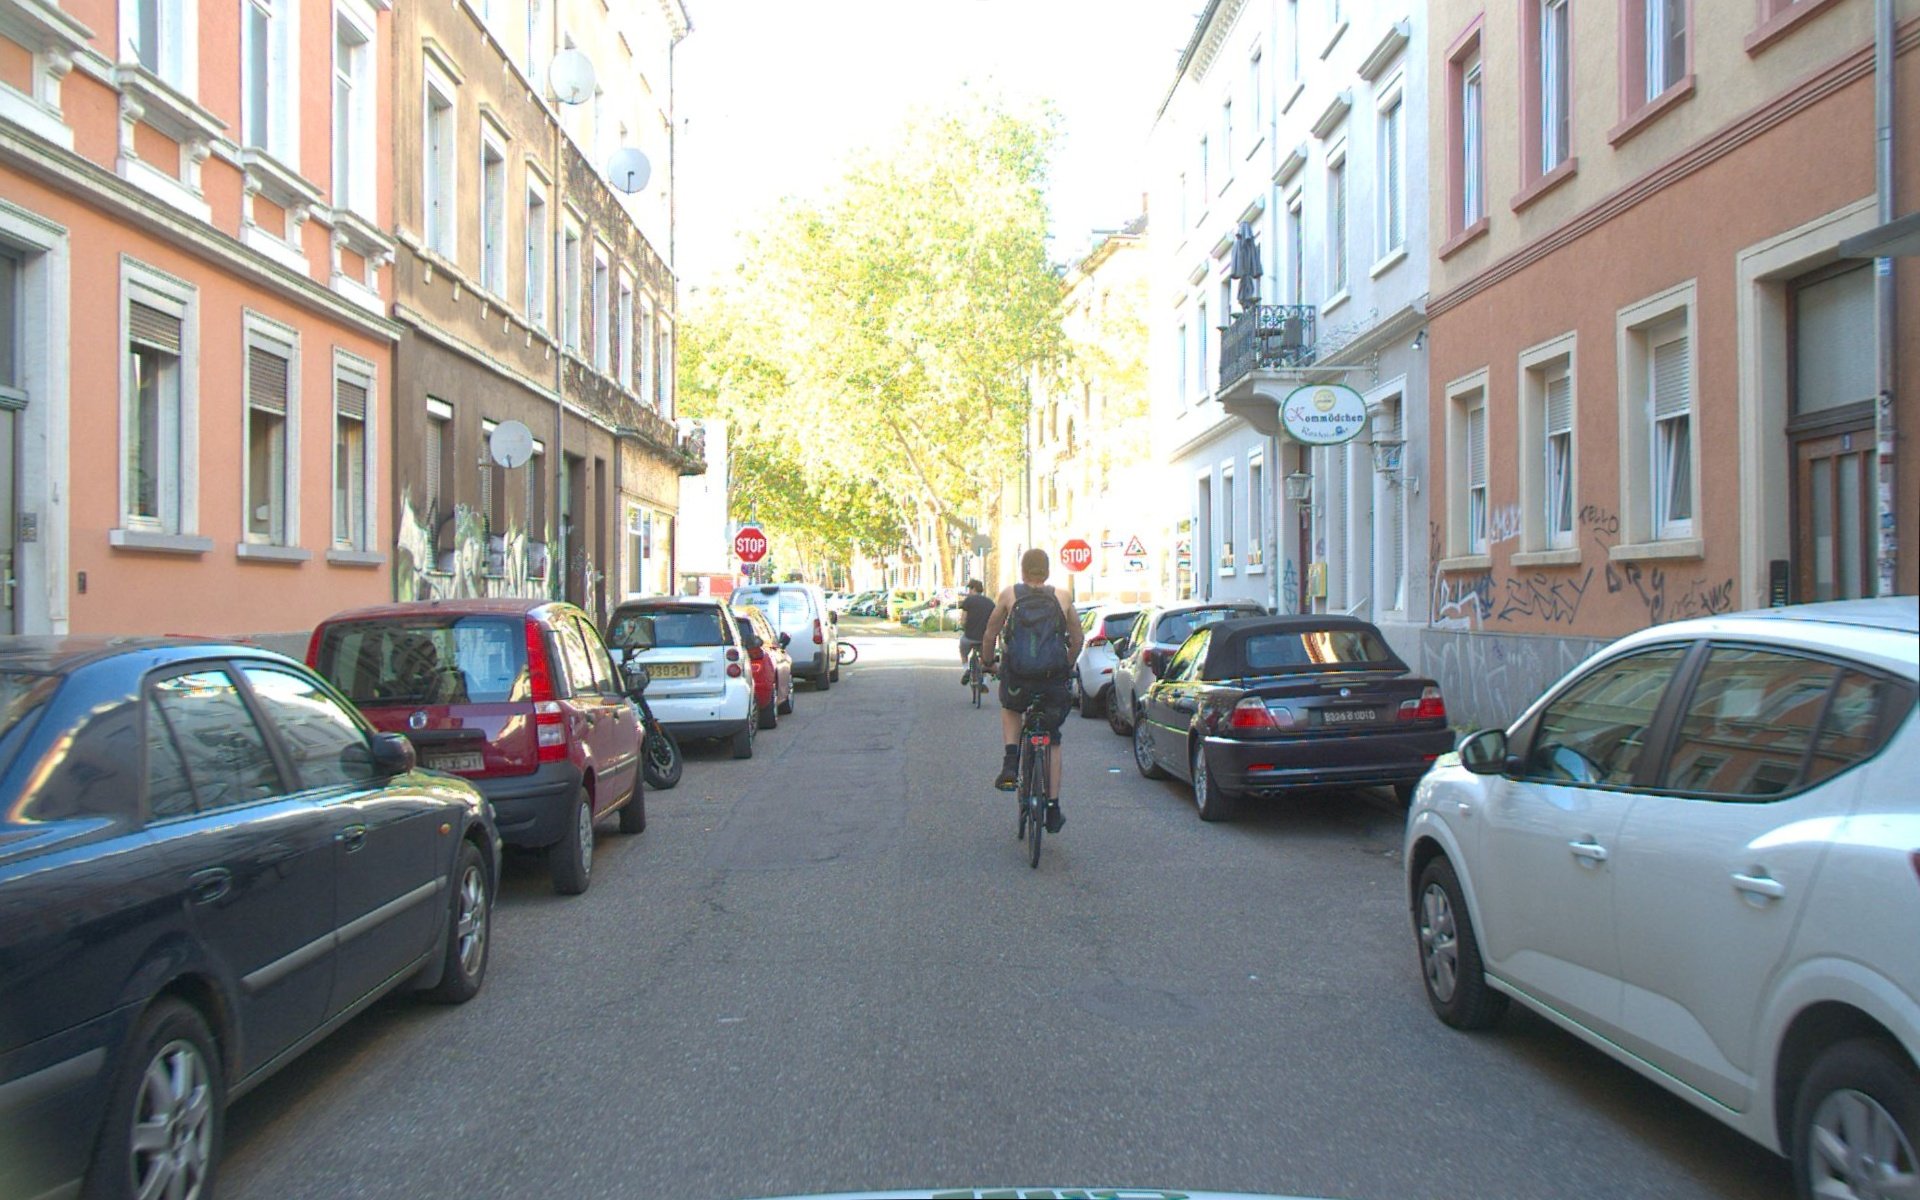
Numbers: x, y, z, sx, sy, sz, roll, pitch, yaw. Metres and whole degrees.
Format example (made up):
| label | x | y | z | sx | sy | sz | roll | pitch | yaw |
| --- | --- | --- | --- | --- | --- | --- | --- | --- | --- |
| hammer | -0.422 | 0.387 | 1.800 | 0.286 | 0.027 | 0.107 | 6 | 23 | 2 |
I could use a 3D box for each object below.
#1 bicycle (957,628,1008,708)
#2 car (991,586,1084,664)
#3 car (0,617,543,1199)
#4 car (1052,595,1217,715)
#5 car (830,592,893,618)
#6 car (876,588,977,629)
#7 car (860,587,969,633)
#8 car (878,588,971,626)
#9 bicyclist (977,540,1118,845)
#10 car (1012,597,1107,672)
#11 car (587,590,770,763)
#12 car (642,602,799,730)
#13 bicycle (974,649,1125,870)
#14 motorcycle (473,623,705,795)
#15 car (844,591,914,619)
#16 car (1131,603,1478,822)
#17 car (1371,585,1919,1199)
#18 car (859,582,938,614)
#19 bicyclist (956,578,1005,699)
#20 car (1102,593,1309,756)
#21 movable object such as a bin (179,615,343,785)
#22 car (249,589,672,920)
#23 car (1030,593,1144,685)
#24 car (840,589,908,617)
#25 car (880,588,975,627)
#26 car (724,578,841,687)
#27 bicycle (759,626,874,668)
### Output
| label | x | y | z | sx | sy | sz | roll | pitch | yaw |
| --- | --- | --- | --- | --- | --- | --- | --- | --- | --- |
| bicycle | 0.306 | 0.952 | 23.732 | 0.650 | 1.055 | 1.958 | -1 | 0 | -1 |
| car | 1.849 | 0.574 | 40.803 | 1.855 | 1.800 | 3.997 | -1 | 0 | -4 |
| car | -2.560 | 0.815 | 4.805 | 1.671 | 1.438 | 4.301 | -1 | 0 | -1 |
| car | 2.343 | 0.699 | 23.098 | 1.676 | 1.496 | 3.998 | -1 | 0 | -3 |
| car | -6.956 | 0.321 | 116.537 | 4.382 | 1.725 | 1.864 | -1 | 0 | -6 |
| car | -1.504 | 0.378 | 73.961 | 4.382 | 1.725 | 1.864 | -1 | 0 | -6 |
| car | -1.904 | 0.393 | 68.780 | 4.382 | 1.790 | 1.864 | -1 | 0 | -6 |
| car | -1.742 | 0.339 | 80.681 | 4.382 | 1.725 | 1.864 | -1 | 0 | -6 |
| bicyclist | 0.500 | 0.520 | 9.888 | 0.725 | 1.708 | 1.116 | 1 | 0 | -2 |
| car | 2.102 | 0.706 | 35.775 | 1.653 | 1.497 | 3.572 | -1 | 0 | -3 |
| car | -2.817 | 0.704 | 17.135 | 1.514 | 1.578 | 3.462 | -1 | 0 | -4 |
| car | -2.936 | 0.762 | 20.897 | 1.521 | 1.424 | 3.666 | -1 | 0 | -2 |
| bicycle | 0.494 | 0.893 | 9.983 | 0.725 | 1.120 | 2.041 | 1 | 0 | -2 |
| motorcycle | -2.996 | 0.852 | 13.379 | 1.766 | 1.278 | 0.707 | -1 | 0 | -16 |
| car | -5.229 | 0.335 | 106.229 | 4.382 | 1.725 | 1.864 | -1 | 0 | -6 |
| car | 2.433 | 0.725 | 12.662 | 1.624 | 1.362 | 3.998 | -1 | 0 | -3 |
| car | 2.677 | 0.713 | 4.850 | 1.697 | 1.496 | 4.018 | -1 | 0 | -4 |
| car | -3.491 | -0.110 | 93.639 | 4.382 | 1.725 | 1.864 | -1 | 0 | -6 |
| bicyclist | 0.285 | 0.537 | 23.710 | 0.656 | 1.687 | 0.877 | -1 | 0 | -1 |
| car | 2.496 | 0.695 | 17.644 | 1.560 | 1.518 | 3.875 | -1 | 0 | -1 |
| movable object such as a bin | -5.190 | 0.728 | 12.327 | 0.817 | 1.146 | 0.716 | -5 | 0 | 1 |
| car | -2.726 | 0.745 | 9.761 | 1.573 | 1.556 | 3.377 | -2 | 0 | -3 |
| car | 2.262 | 0.668 | 30.204 | 1.619 | 1.557 | 3.572 | -1 | 0 | -3 |
| car | -5.732 | 0.205 | 109.555 | 4.382 | 1.725 | 1.864 | -1 | 0 | -6 |
| car | -1.552 | 0.343 | 78.336 | 4.382 | 1.725 | 1.864 | -1 | 0 | -6 |
| car | -3.078 | 0.529 | 29.332 | 1.752 | 1.767 | 3.875 | -1 | 0 | -2 |
| bicycle | -3.344 | 1.093 | 38.724 | 2.662 | 0.907 | 0.618 | -1 | 0 | -4 |
